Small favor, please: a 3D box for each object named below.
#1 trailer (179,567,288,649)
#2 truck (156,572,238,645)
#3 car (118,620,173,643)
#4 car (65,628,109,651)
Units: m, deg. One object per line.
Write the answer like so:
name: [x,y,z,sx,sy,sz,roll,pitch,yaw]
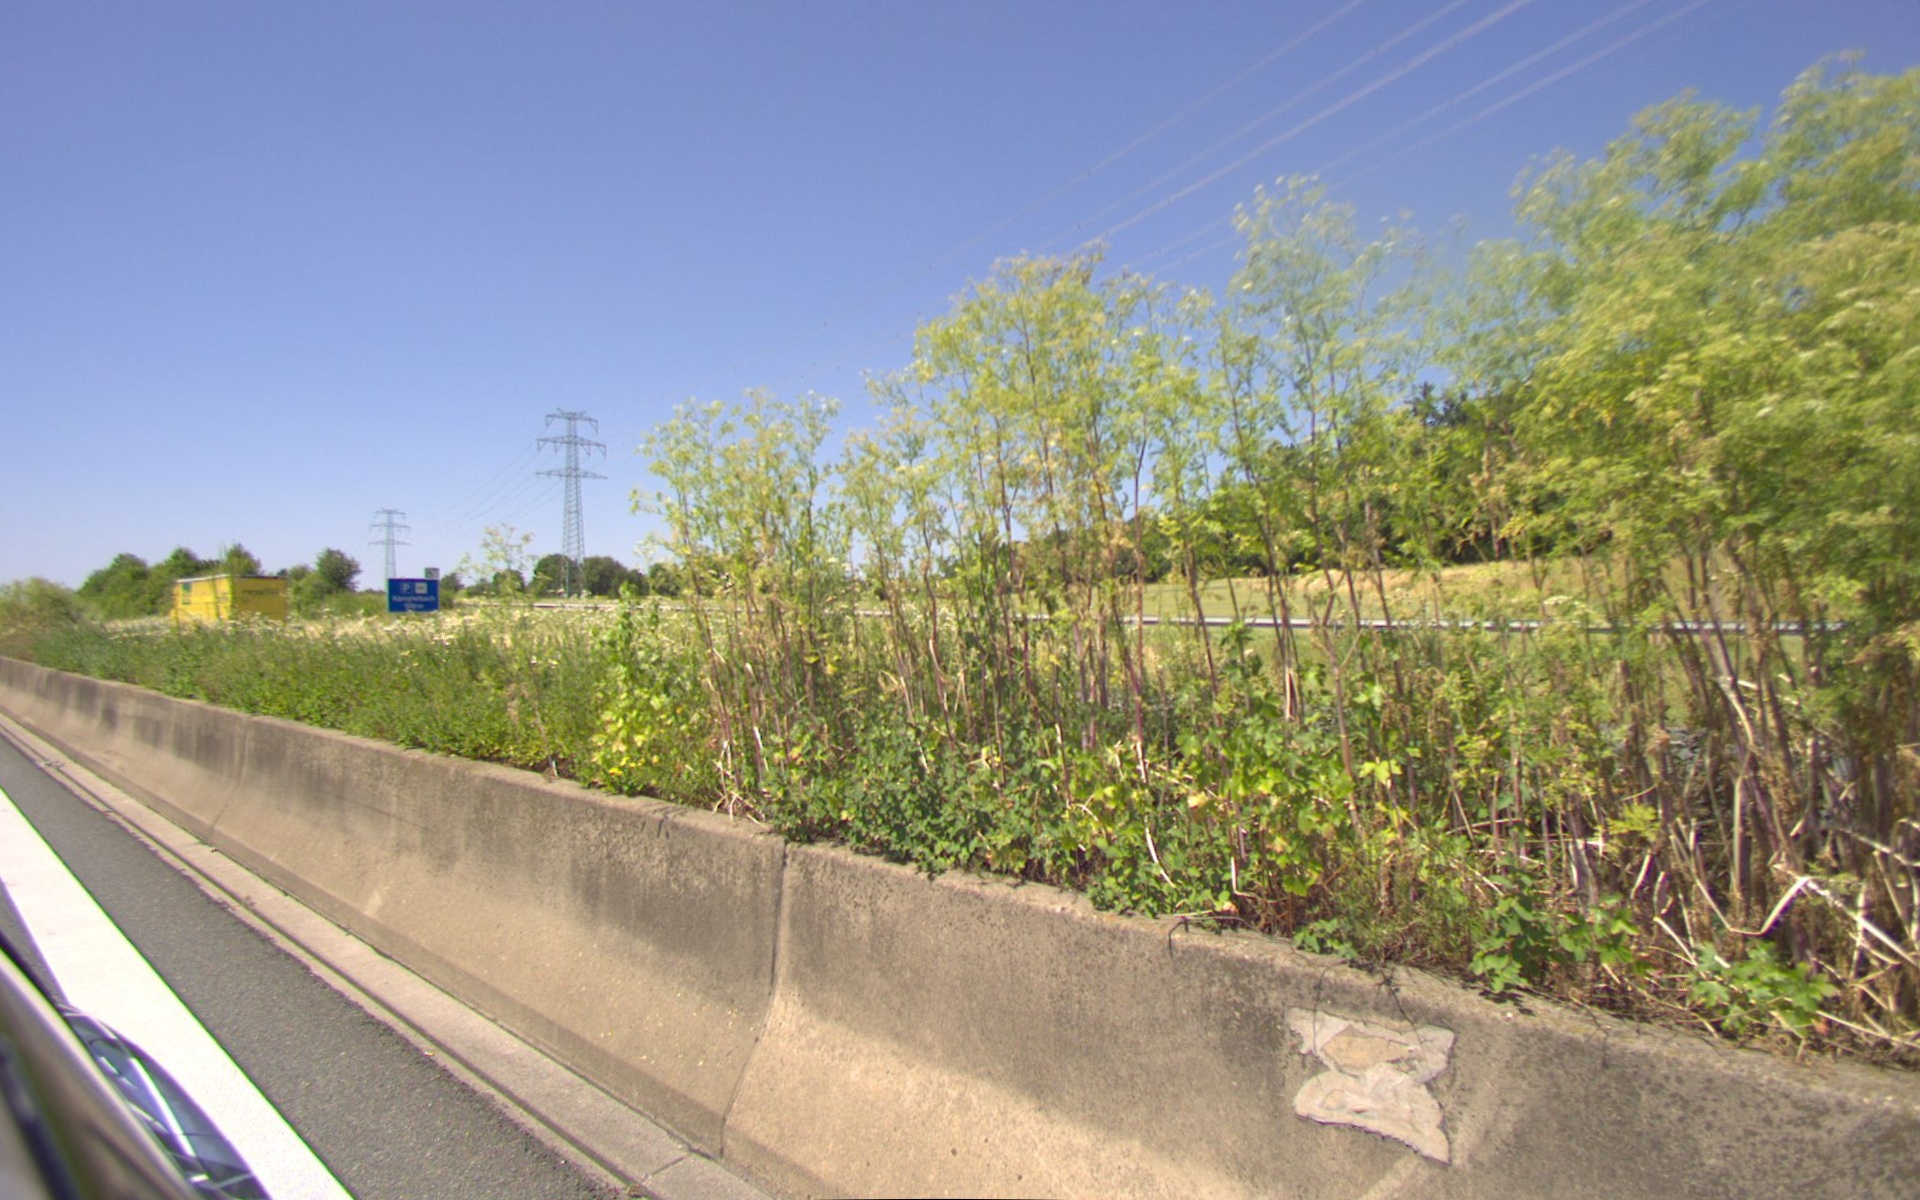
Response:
trailer: [-41.220,0.410,57.251,10.684,4.238,2.791,0,1,42]
truck: [-47.638,0.493,63.071,7.324,4.268,2.748,0,1,42]
car: [-42.129,1.605,52.315,3.340,1.139,1.658,-1,0,41]
car: [-60.119,2.725,69.673,4.098,1.476,1.849,-2,-1,42]
